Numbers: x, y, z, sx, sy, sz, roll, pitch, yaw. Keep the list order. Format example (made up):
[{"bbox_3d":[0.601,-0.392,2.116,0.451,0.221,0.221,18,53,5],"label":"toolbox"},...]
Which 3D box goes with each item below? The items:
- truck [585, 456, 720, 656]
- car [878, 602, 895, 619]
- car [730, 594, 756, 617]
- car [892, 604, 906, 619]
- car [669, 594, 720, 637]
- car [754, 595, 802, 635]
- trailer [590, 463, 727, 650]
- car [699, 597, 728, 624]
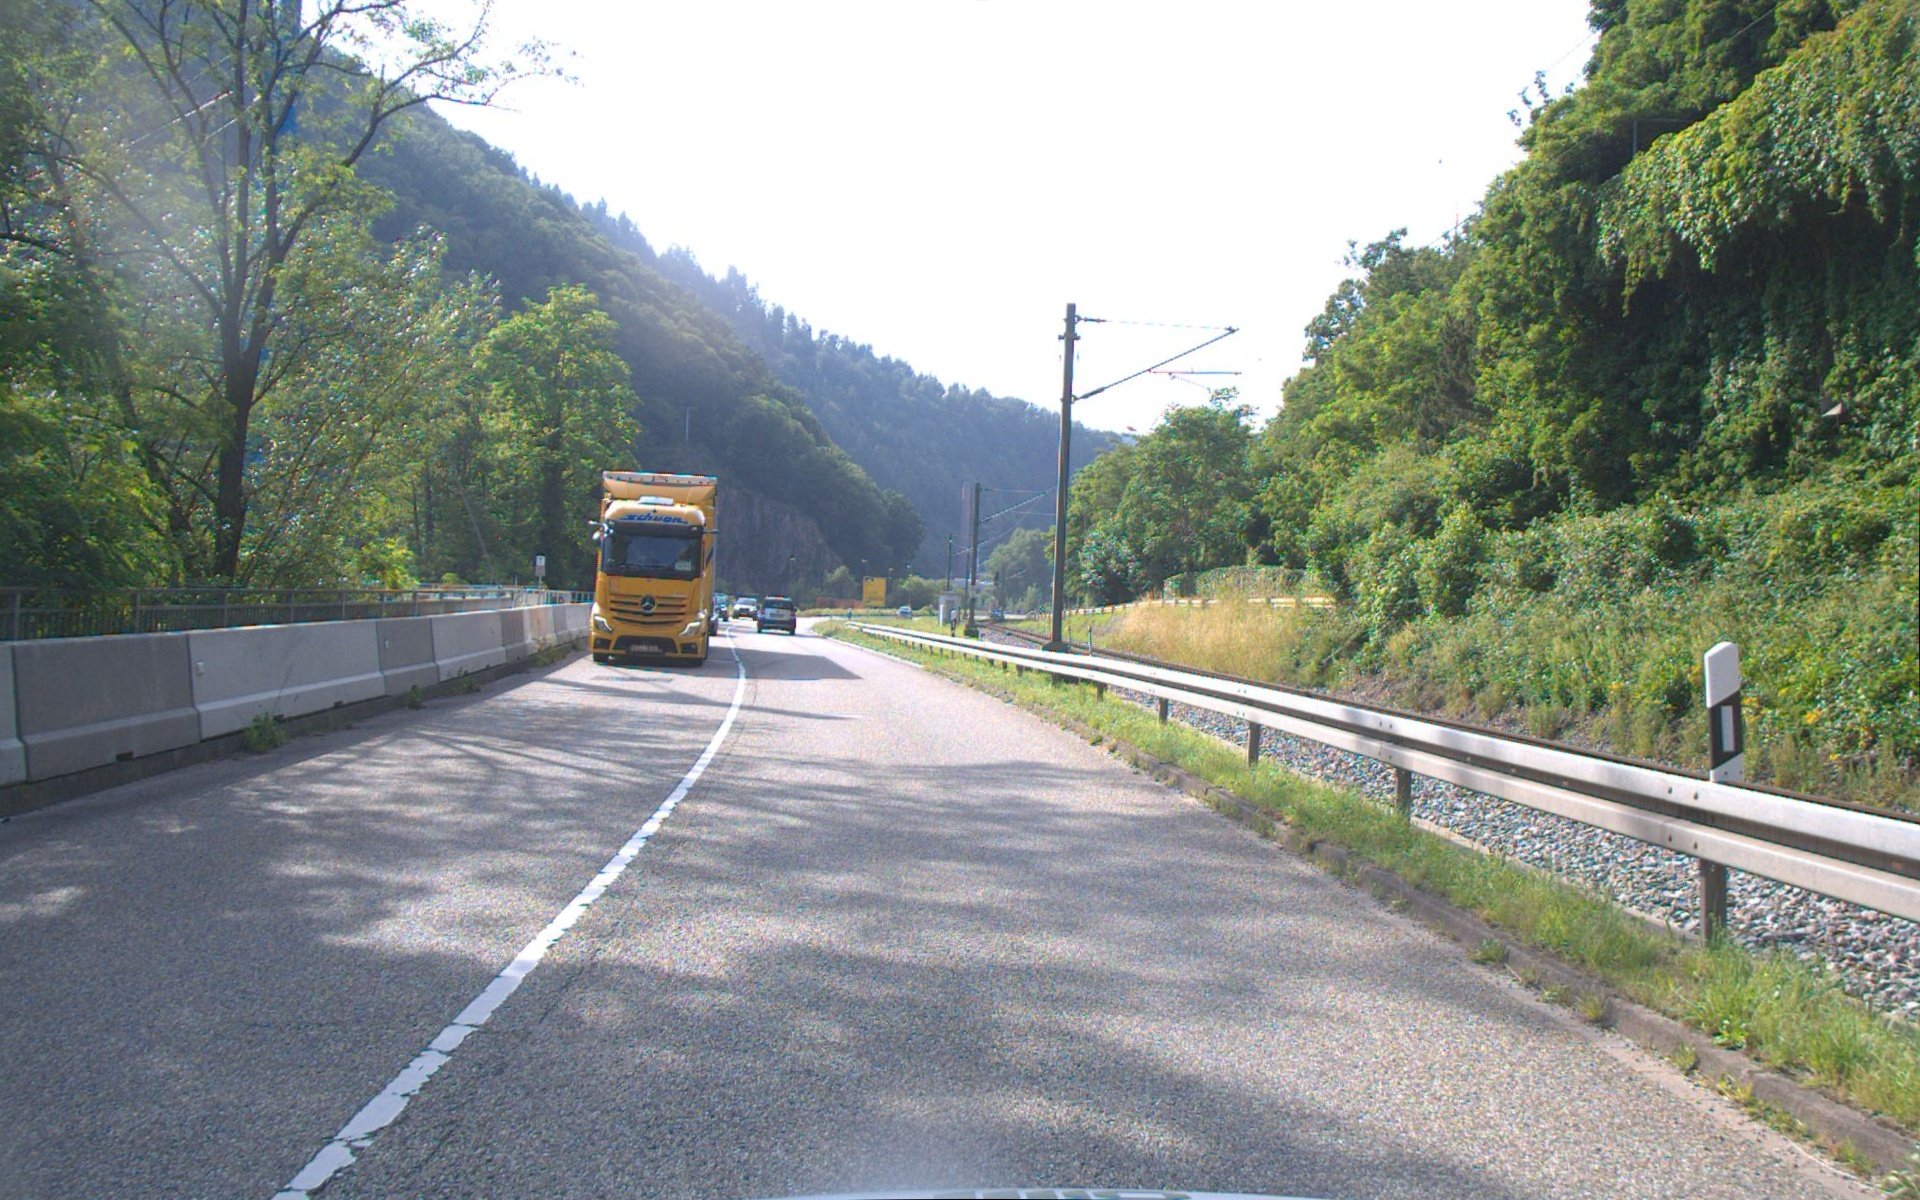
[{"bbox_3d":[-6.877,-0.913,37.490,2.691,4.098,6.398,1,0,-9],"label":"truck"},{"bbox_3d":[-9.158,1.318,206.980,1.953,2.049,3.999,1,0,-1],"label":"car"},{"bbox_3d":[-17.186,0.428,130.868,1.956,1.657,4.499,4,-1,-8],"label":"car"},{"bbox_3d":[-8.557,1.642,232.724,1.953,2.049,3.999,1,0,-1],"label":"car"},{"bbox_3d":[-10.299,0.574,64.427,1.802,1.522,4.927,3,-1,-8],"label":"car"},{"bbox_3d":[-8.405,0.703,76.166,1.957,1.754,3.981,1,-1,-10],"label":"car"},{"bbox_3d":[-7.624,-0.967,43.419,2.803,4.083,13.647,1,0,-8],"label":"trailer"},{"bbox_3d":[-16.140,0.664,108.361,1.765,1.583,4.323,4,0,-9],"label":"car"}]
